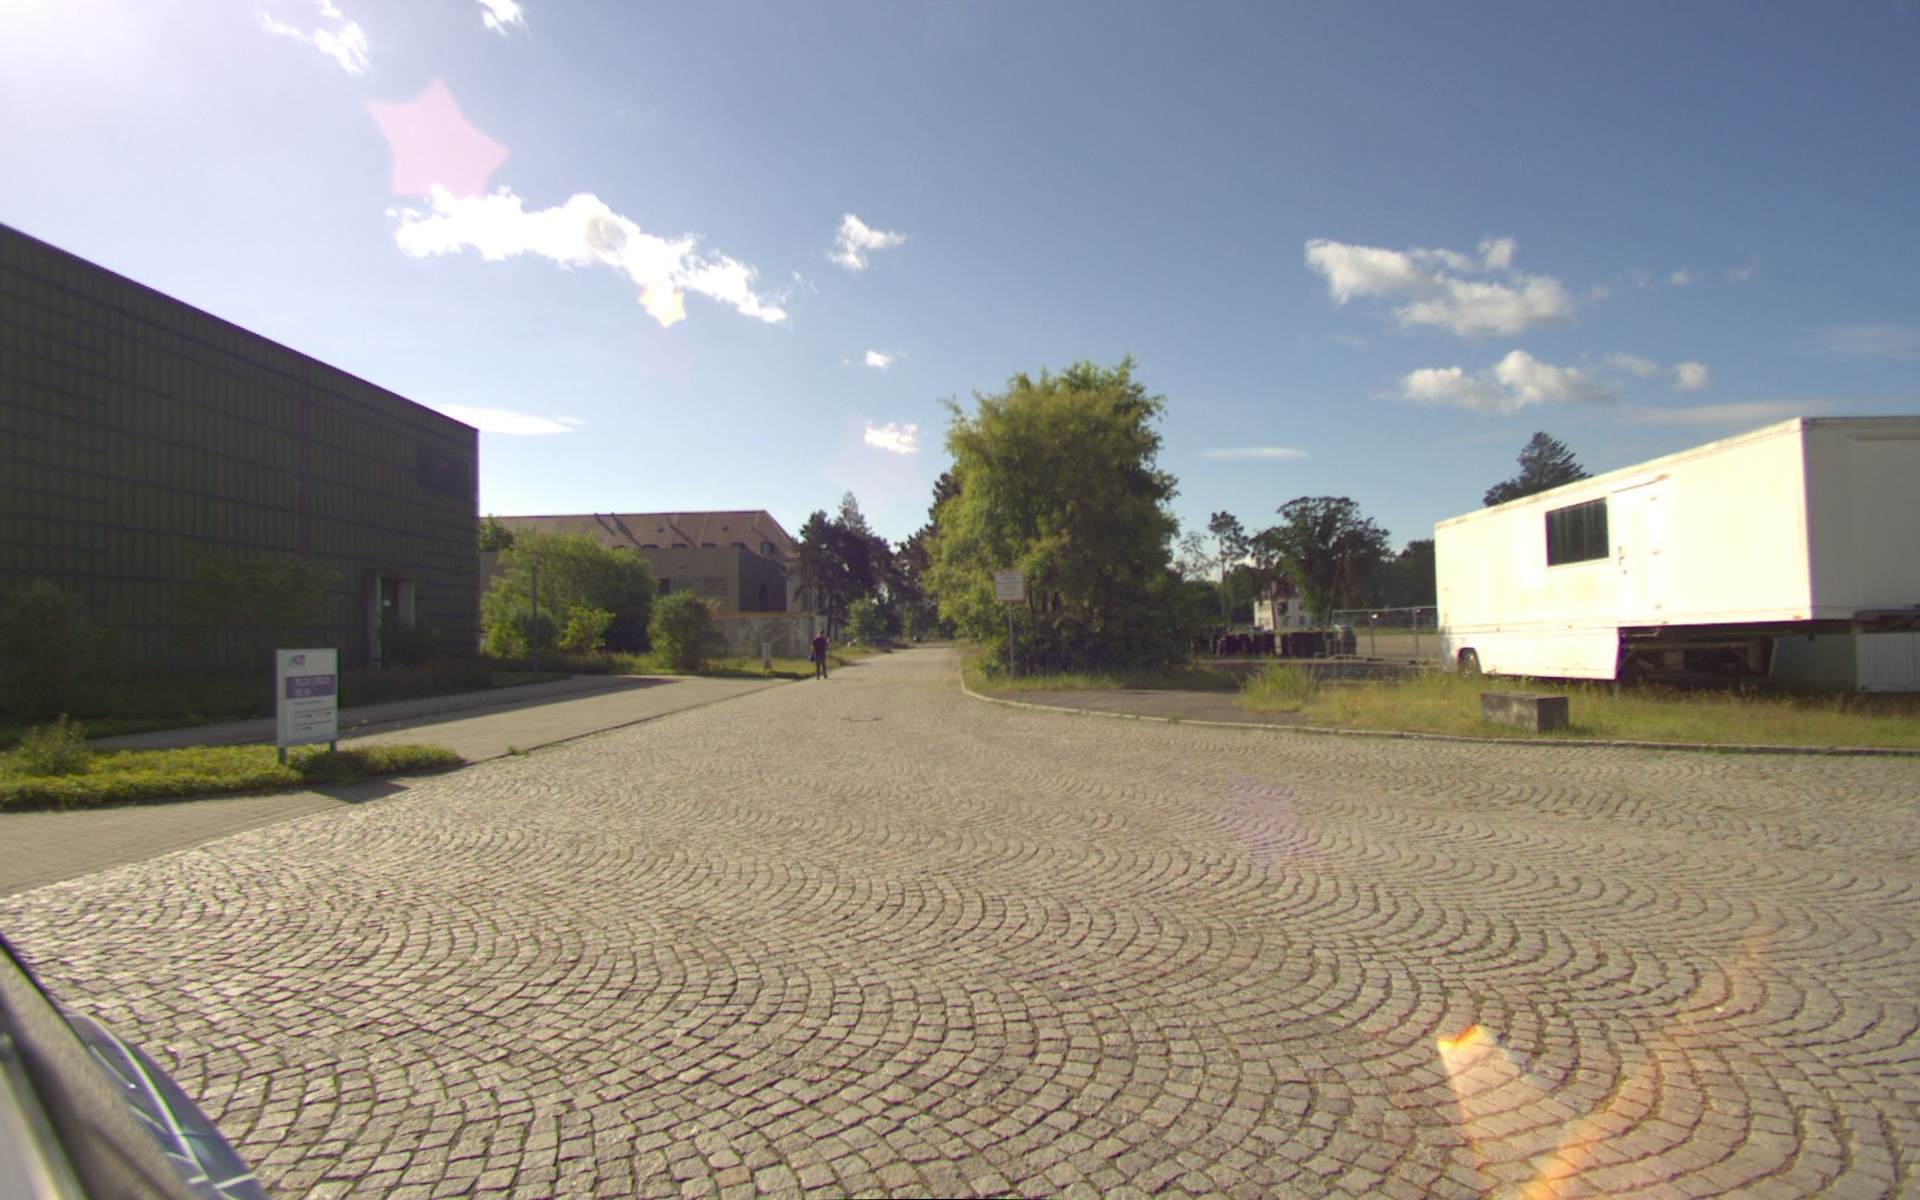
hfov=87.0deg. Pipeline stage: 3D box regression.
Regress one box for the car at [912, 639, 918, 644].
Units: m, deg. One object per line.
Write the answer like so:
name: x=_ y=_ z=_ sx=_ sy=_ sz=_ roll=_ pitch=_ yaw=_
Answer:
car: x=-9.727 y=8.944 z=219.557 sx=1.354 sy=1.107 sz=2.864 roll=-1 pitch=-2 yaw=-3

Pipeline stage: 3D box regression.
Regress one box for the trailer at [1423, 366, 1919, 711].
trailer: x=11.590 y=-0.532 z=16.996 sx=2.744 sy=3.941 sz=10.878 roll=-1 pitch=-2 yaw=2

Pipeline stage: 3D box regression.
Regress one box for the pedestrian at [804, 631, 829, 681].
pedestrian: x=-5.307 y=2.056 z=37.399 sx=0.786 sy=1.794 sz=1.069 roll=0 pitch=-2 yaw=-2

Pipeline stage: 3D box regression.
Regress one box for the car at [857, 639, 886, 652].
car: x=-9.093 y=4.676 z=104.239 sx=2.865 sy=1.269 sz=1.290 roll=-1 pitch=-2 yaw=-8
